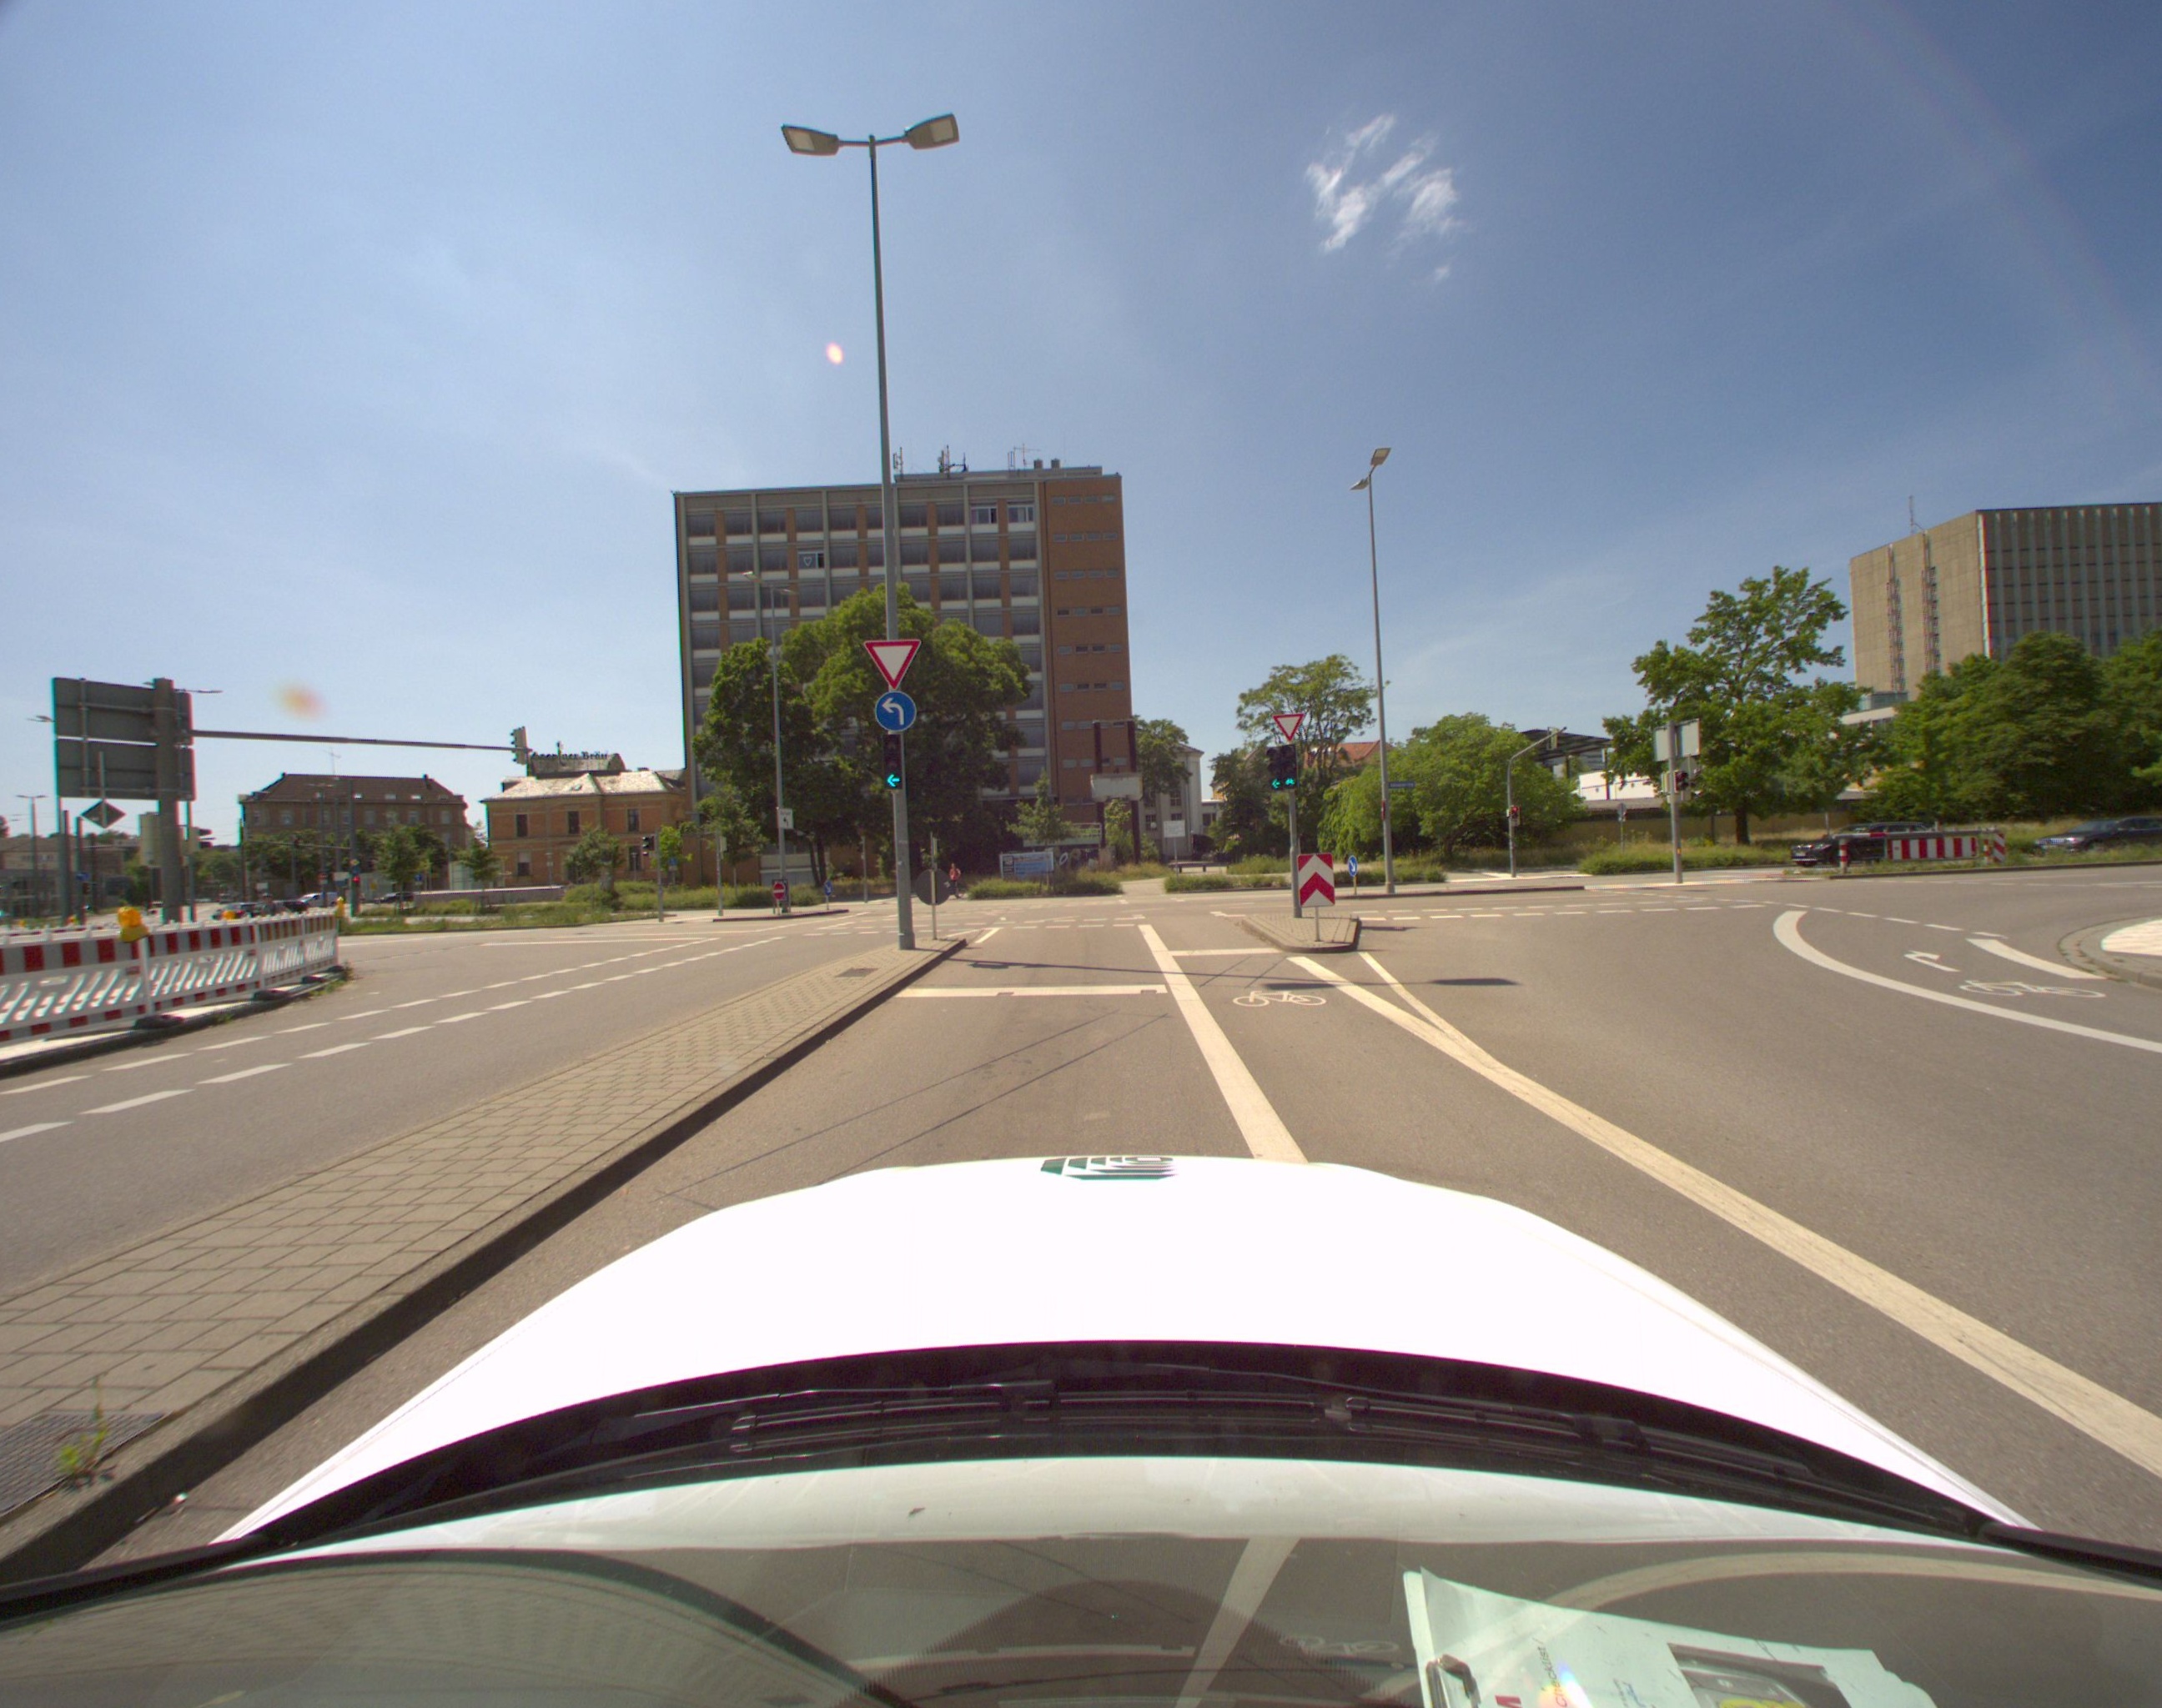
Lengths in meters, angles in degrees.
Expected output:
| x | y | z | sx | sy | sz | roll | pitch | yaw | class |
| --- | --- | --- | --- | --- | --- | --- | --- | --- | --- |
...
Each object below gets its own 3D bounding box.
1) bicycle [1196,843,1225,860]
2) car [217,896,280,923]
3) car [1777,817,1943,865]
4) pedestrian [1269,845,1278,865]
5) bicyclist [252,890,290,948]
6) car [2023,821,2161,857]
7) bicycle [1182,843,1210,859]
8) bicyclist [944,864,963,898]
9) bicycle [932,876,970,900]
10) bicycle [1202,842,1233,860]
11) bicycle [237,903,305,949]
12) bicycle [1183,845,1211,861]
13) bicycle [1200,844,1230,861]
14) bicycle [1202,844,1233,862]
| x | y | z | sx | sy | sz | roll | pitch | yaw | class |
| --- | --- | --- | --- | --- | --- | --- | --- | --- | --- |
| 15.615 | -0.335 | 98.472 | 3.433 | 2.014 | 0.761 | -1 | 0 | 3 | bicycle |
| -54.102 | 3.641 | 52.901 | 4.528 | 1.557 | 1.733 | -3 | -1 | 29 | car |
| 30.362 | -0.497 | 31.854 | 4.516 | 1.586 | 1.712 | -3 | -1 | 7 | car |
| 16.122 | 0.118 | 68.177 | 0.637 | 1.665 | 0.707 | -1 | 0 | 0 | pedestrian |
| -22.693 | 1.817 | 22.814 | 0.493 | 1.579 | 0.533 | -4 | -1 | 18 | bicyclist |
| 39.258 | -0.569 | 31.342 | 3.973 | 1.310 | 1.760 | -1 | 0 | 0 | car |
| 14.488 | -0.378 | 102.881 | 3.433 | 2.014 | 0.761 | -1 | 0 | 3 | bicycle |
| -6.587 | 1.376 | 42.008 | 0.544 | 1.715 | 0.707 | -1 | 1 | 42 | bicyclist |
| -6.679 | 1.732 | 41.922 | 0.551 | 1.045 | 2.009 | -1 | 1 | 43 | bicycle |
| 15.526 | -0.296 | 92.811 | 3.433 | 2.014 | 0.761 | -1 | 0 | 3 | bicycle |
| -22.714 | 2.020 | 22.838 | 1.877 | 1.180 | 0.527 | -4 | -1 | 18 | bicycle |
| 14.290 | -0.127 | 100.450 | 3.433 | 2.014 | 0.761 | -1 | 0 | 3 | bicycle |
| 15.846 | -0.156 | 96.206 | 3.433 | 2.014 | 0.761 | -1 | 0 | 3 | bicycle |
| 15.289 | -0.078 | 91.299 | 3.433 | 2.014 | 0.761 | -1 | 0 | 3 | bicycle |
